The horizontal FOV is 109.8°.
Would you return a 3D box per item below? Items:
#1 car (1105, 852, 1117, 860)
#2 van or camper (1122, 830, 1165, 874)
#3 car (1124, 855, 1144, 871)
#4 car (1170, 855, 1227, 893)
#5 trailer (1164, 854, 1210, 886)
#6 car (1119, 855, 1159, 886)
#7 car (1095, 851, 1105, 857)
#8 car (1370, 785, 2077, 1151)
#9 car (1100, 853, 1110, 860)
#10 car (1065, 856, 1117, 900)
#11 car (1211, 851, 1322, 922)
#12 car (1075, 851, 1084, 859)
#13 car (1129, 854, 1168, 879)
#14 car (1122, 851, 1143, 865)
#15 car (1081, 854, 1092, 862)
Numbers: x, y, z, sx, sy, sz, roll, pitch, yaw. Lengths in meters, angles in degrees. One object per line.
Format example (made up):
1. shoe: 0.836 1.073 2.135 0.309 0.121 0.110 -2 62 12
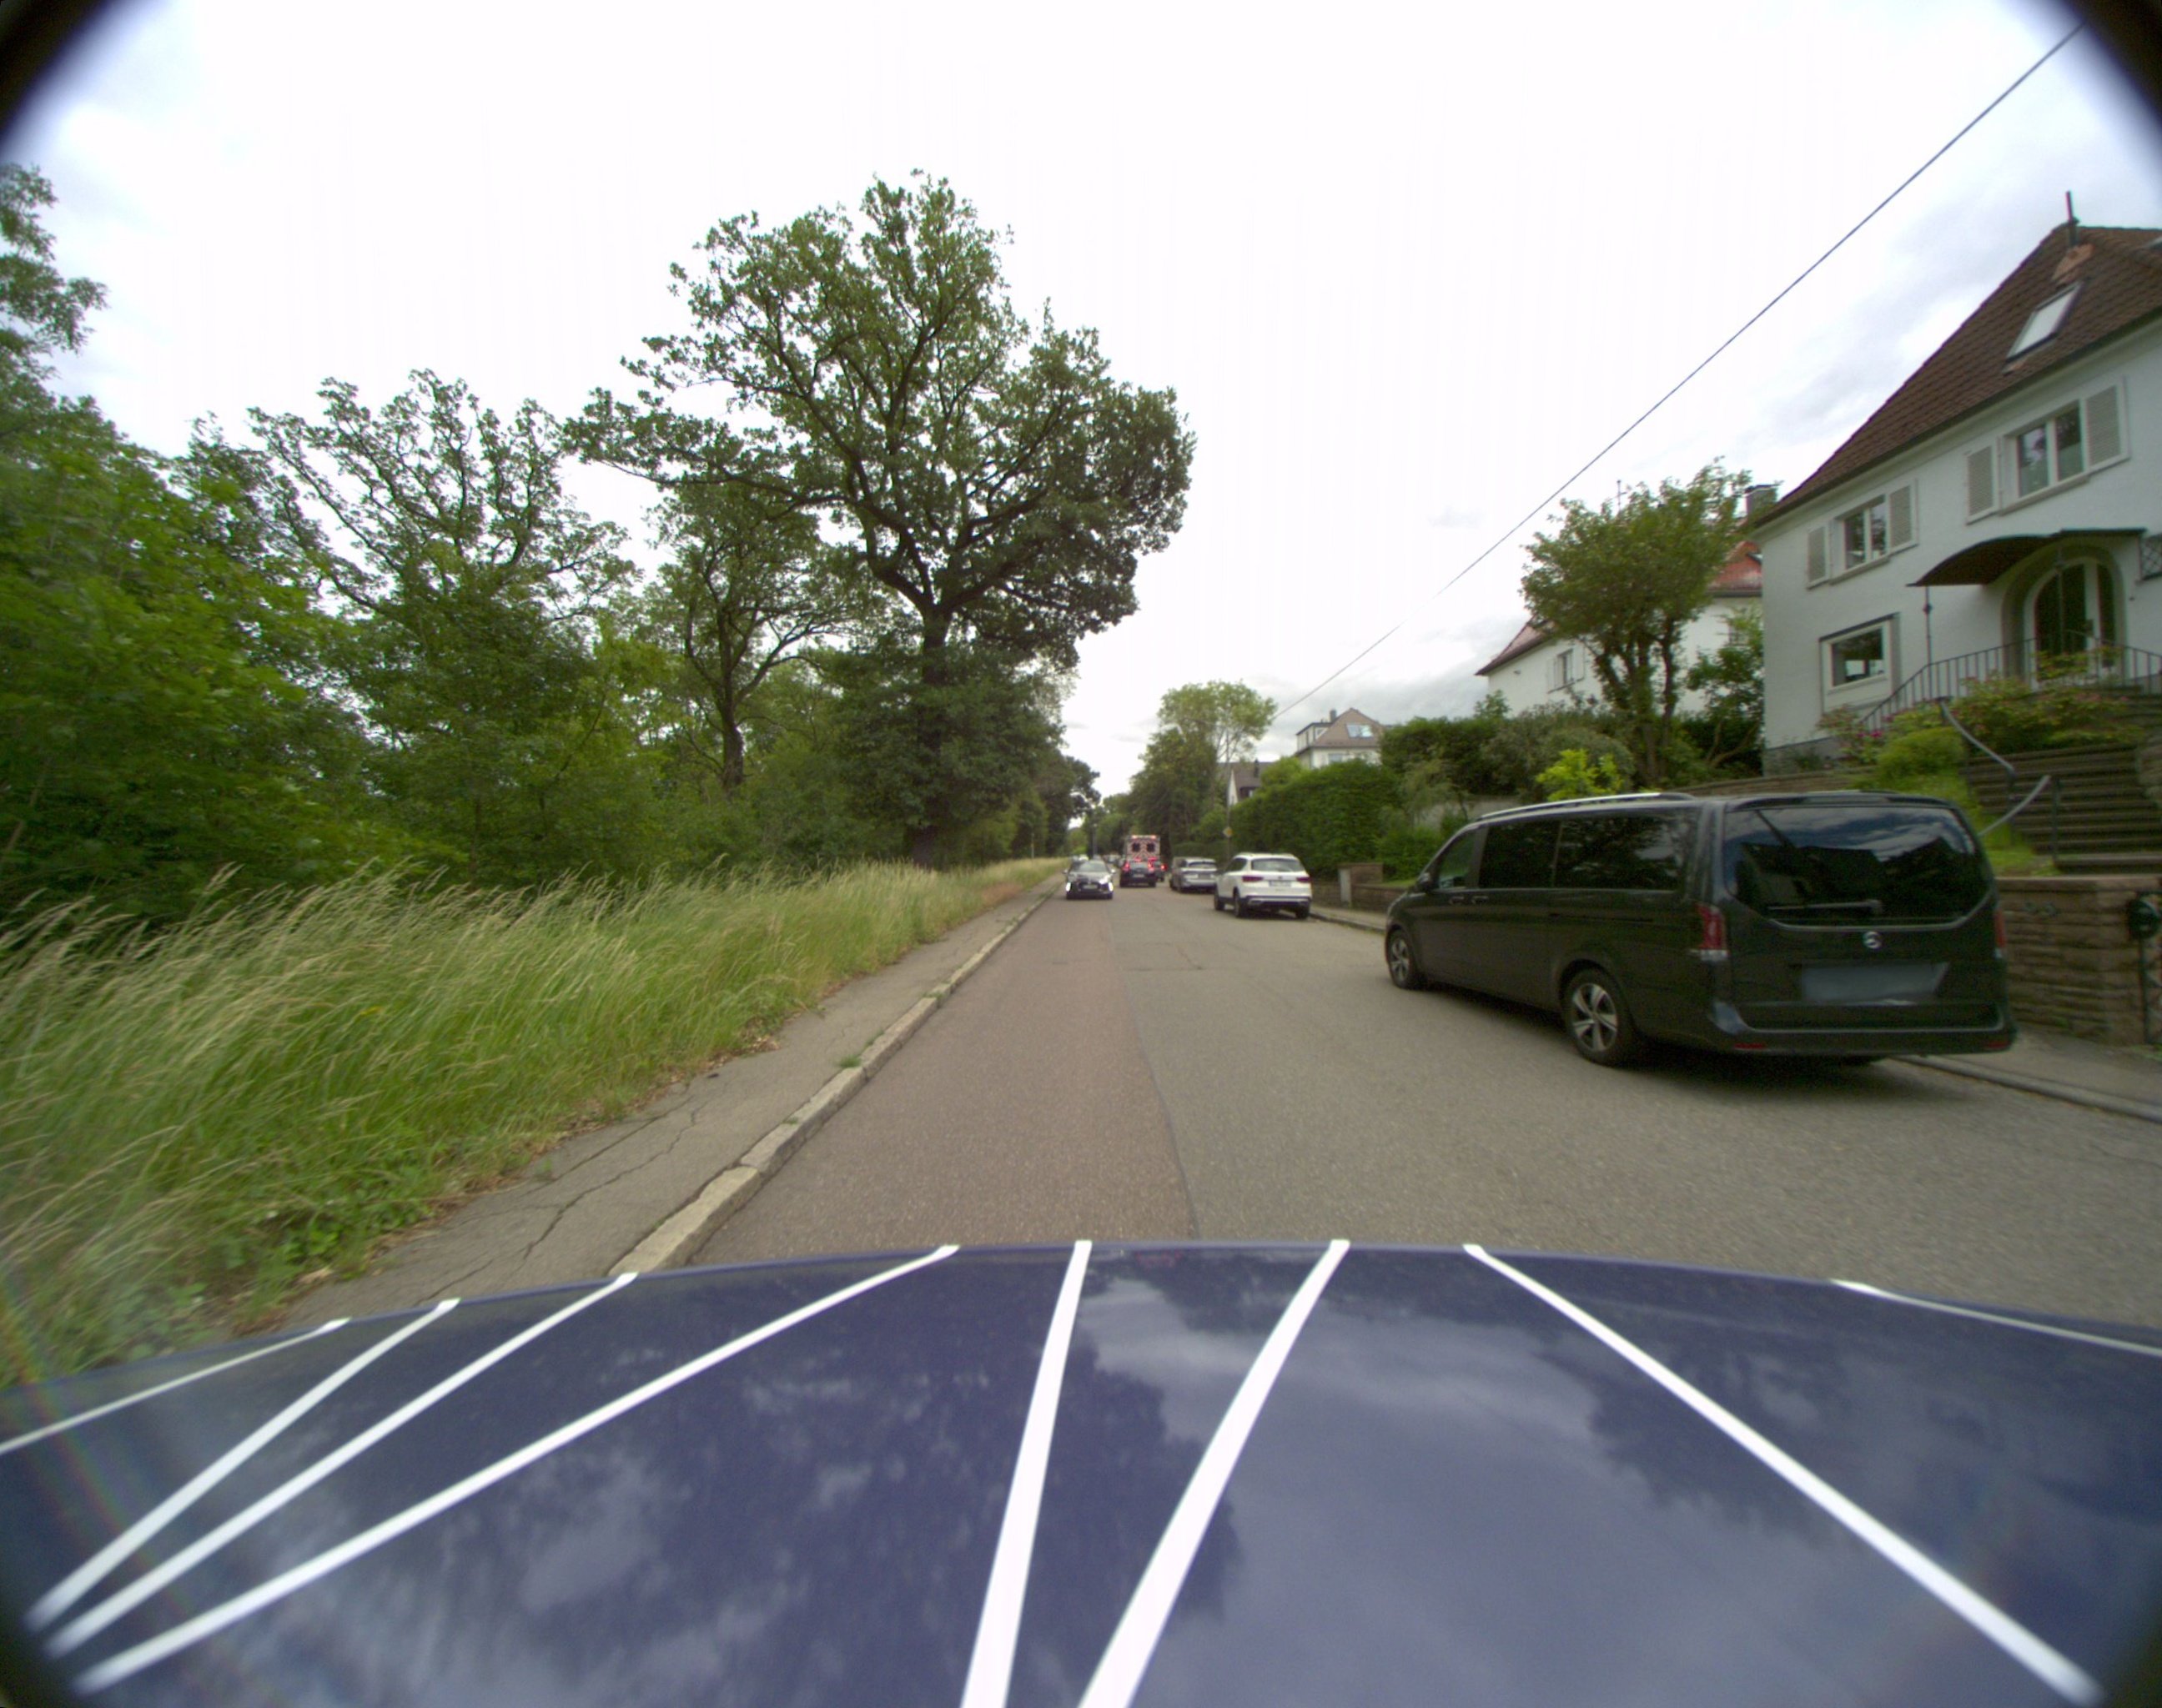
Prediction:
1. car: 5.262 0.350 134.159 1.788 1.491 4.014 -2 0 -1
2. van or camper: 4.361 -0.155 54.349 2.462 2.878 7.167 0 0 0
3. car: 5.330 0.843 76.617 1.724 1.496 4.008 1 0 1
4. car: 4.972 0.806 32.734 1.768 1.490 4.473 1 0 0
5. trailer: 5.231 0.760 38.049 1.767 1.487 4.474 0 0 2
6. car: 2.882 0.778 38.516 1.768 1.438 4.473 0 0 0
7. car: 4.304 -0.018 174.443 1.765 1.441 4.041 -2 0 -6
8. car: 4.428 0.612 6.618 1.868 1.915 5.037 -2 0 0
9. car: 4.780 0.447 153.789 1.741 1.431 3.786 -2 0 -2
10. car: 0.327 0.854 28.889 1.788 1.491 4.014 -2 0 -1
11. car: 4.729 0.763 20.028 1.843 1.639 4.185 1 0 -1
12. car: -0.253 0.203 178.626 1.998 1.678 4.710 -2 0 0
13. car: 4.023 0.721 45.740 1.768 1.438 4.472 0 0 -2
14. car: 5.907 0.475 86.817 1.921 1.553 4.603 1 0 -2
15. car: 1.134 0.841 157.577 1.999 1.678 4.710 -2 0 -1
